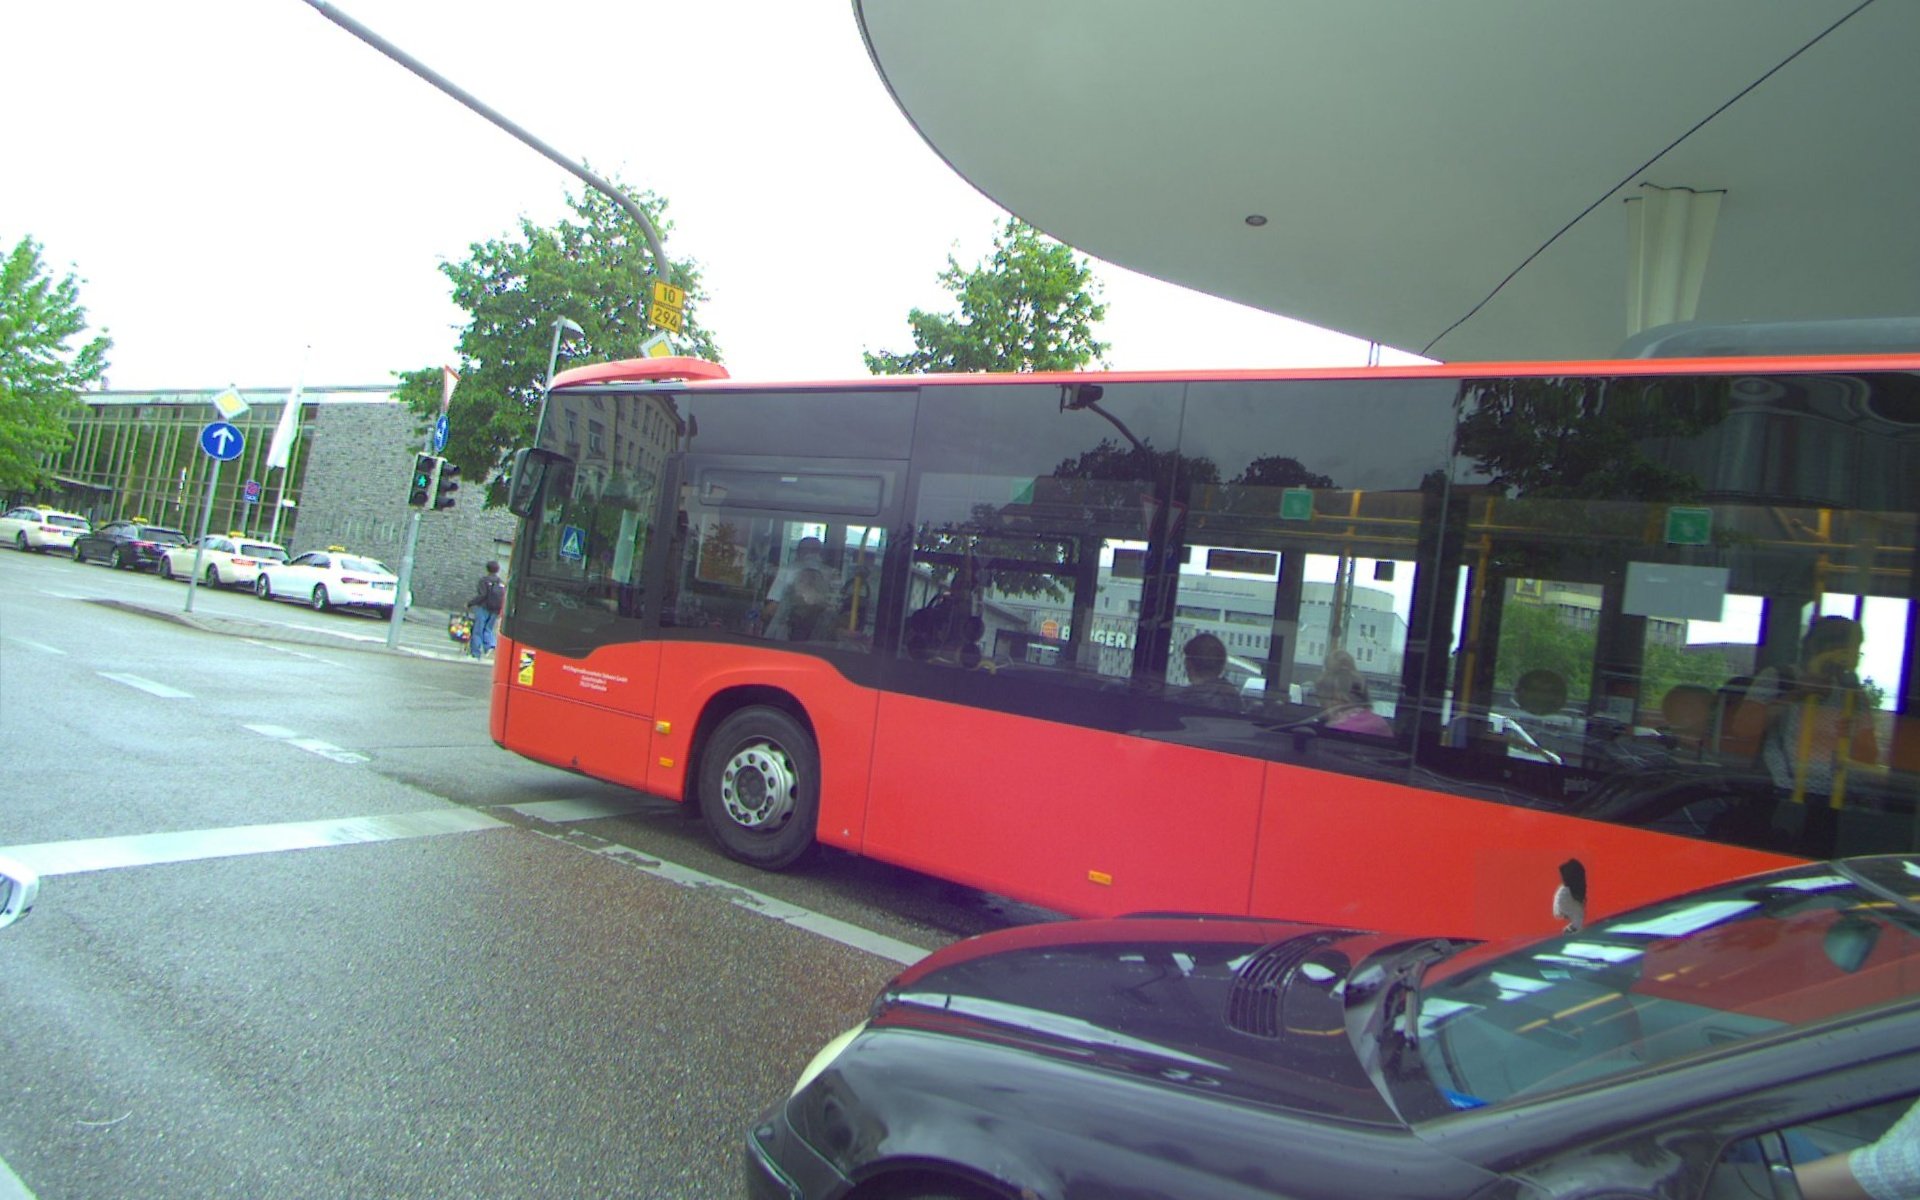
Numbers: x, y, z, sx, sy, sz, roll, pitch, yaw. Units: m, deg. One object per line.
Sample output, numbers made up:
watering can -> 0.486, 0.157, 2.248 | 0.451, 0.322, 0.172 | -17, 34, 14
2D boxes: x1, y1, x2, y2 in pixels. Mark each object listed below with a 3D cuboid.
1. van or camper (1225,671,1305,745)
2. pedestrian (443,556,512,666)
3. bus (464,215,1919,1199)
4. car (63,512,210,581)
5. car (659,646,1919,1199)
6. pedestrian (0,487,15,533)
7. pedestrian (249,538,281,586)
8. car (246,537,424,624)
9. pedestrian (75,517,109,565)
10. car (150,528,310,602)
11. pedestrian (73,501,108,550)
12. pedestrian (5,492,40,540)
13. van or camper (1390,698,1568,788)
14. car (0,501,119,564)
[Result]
van or camper -> 12.537, 4.405, 41.013 | 2.072, 2.491, 5.975 | 7, -3, 25
pedestrian -> -7.976, 0.177, 16.620 | 0.801, 1.693, 0.708 | 8, -1, -28
bus -> 1.667, 0.275, 5.597 | 10.026, 3.210, 2.749 | 7, -2, 32
car -> -25.842, -1.701, 31.527 | 4.662, 1.542, 1.918 | 7, -2, 30
car -> 1.779, 1.144, 1.458 | 4.361, 1.494, 1.752 | 5, -6, 31
pedestrian -> -52.568, -4.951, 55.024 | 0.848, 2.439, 0.844 | 7, -1, 34
pedestrian -> -26.119, -1.421, 37.809 | 0.703, 1.665, 0.565 | 7, -1, 27
car -> -15.857, -0.510, 25.458 | 4.538, 1.608, 1.779 | 7, -2, 30
pedestrian -> -32.994, -2.240, 38.250 | 0.703, 1.729, 0.566 | 7, -2, 27
car -> -20.634, -1.006, 28.385 | 4.588, 1.468, 1.851 | 7, -2, 30
pedestrian -> -39.297, -3.372, 45.448 | 0.814, 2.037, 0.771 | 7, -1, 30
pedestrian -> -43.014, -3.831, 46.147 | 0.814, 2.037, 0.771 | 7, -1, 30
van or camper -> 20.335, 5.541, 39.543 | 5.873, 2.491, 2.108 | 7, -2, 32
car -> -31.436, -2.377, 34.538 | 4.736, 1.618, 2.000 | 7, -2, 25
